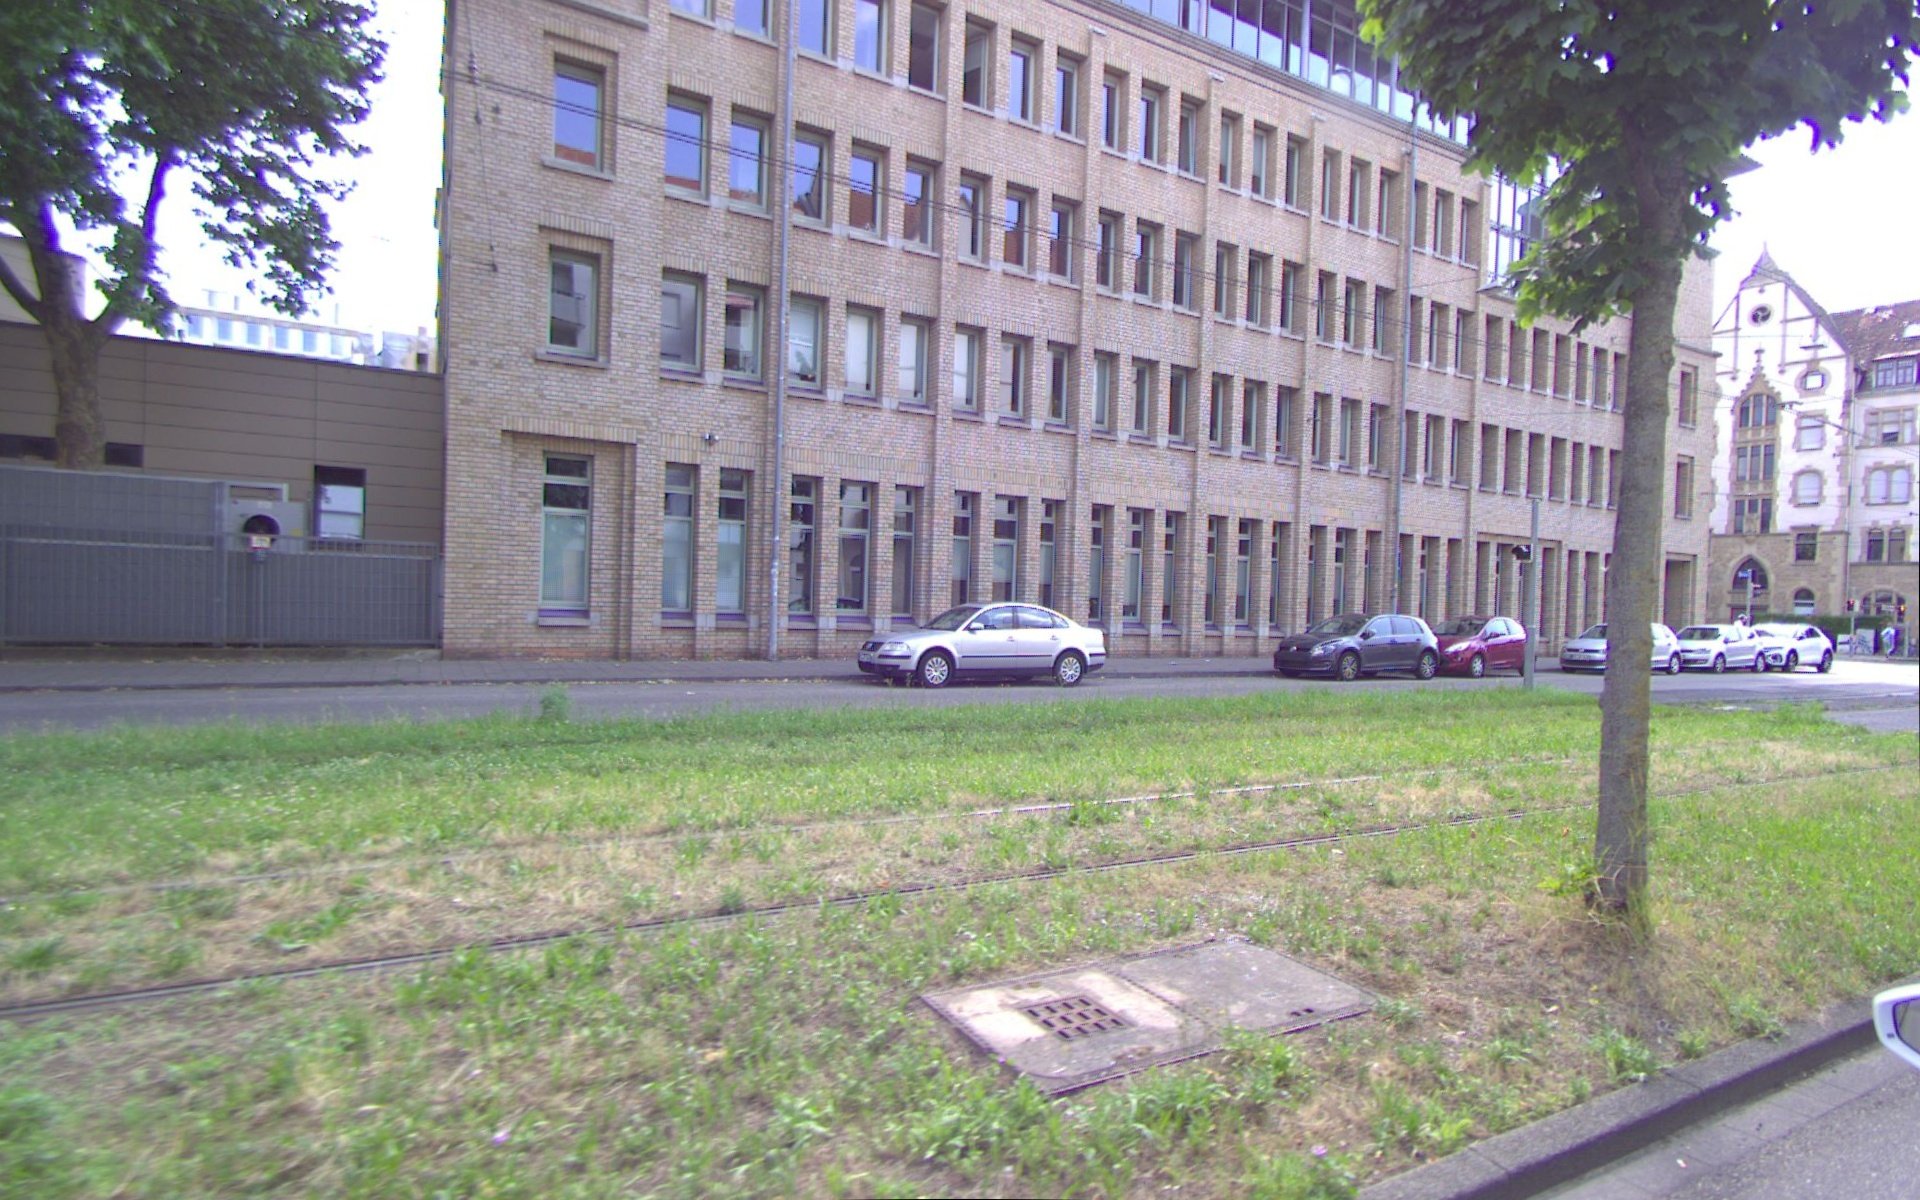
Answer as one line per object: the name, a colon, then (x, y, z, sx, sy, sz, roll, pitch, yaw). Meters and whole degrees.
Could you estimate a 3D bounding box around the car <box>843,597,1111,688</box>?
car: (0.335, 0.742, 17.673, 4.429, 1.415, 1.708, 2, 0, -28)

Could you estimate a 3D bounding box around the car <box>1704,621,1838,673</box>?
car: (26.564, 1.531, 32.900, 4.205, 1.555, 1.925, 2, 0, -28)

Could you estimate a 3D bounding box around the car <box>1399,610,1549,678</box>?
car: (12.728, 1.083, 24.862, 3.505, 1.551, 1.576, 2, 0, -28)

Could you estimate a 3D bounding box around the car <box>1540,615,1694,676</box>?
car: (18.373, 1.263, 28.073, 4.158, 1.551, 1.843, 2, 0, -28)

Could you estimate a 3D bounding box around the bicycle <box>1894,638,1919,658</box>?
bicycle: (54.579, 2.757, 57.247, 0.772, 1.095, 1.900, 2, -1, -39)

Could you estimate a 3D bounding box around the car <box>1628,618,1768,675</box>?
car: (22.563, 1.415, 30.712, 3.964, 1.551, 1.925, 2, 0, -28)

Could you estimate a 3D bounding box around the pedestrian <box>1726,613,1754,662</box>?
pedestrian: (29.859, 1.421, 38.457, 0.750, 1.819, 0.957, 2, 1, 36)

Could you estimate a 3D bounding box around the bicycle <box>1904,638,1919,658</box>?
bicycle: (56.576, 2.840, 58.755, 0.772, 1.095, 1.900, 2, -1, -39)

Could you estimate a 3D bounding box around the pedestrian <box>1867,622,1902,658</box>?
pedestrian: (47.050, 2.033, 51.134, 1.003, 1.745, 0.776, 2, 1, 17)

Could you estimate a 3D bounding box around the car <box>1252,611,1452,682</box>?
car: (8.825, 1.039, 22.568, 4.186, 1.415, 1.925, 2, 0, -28)
